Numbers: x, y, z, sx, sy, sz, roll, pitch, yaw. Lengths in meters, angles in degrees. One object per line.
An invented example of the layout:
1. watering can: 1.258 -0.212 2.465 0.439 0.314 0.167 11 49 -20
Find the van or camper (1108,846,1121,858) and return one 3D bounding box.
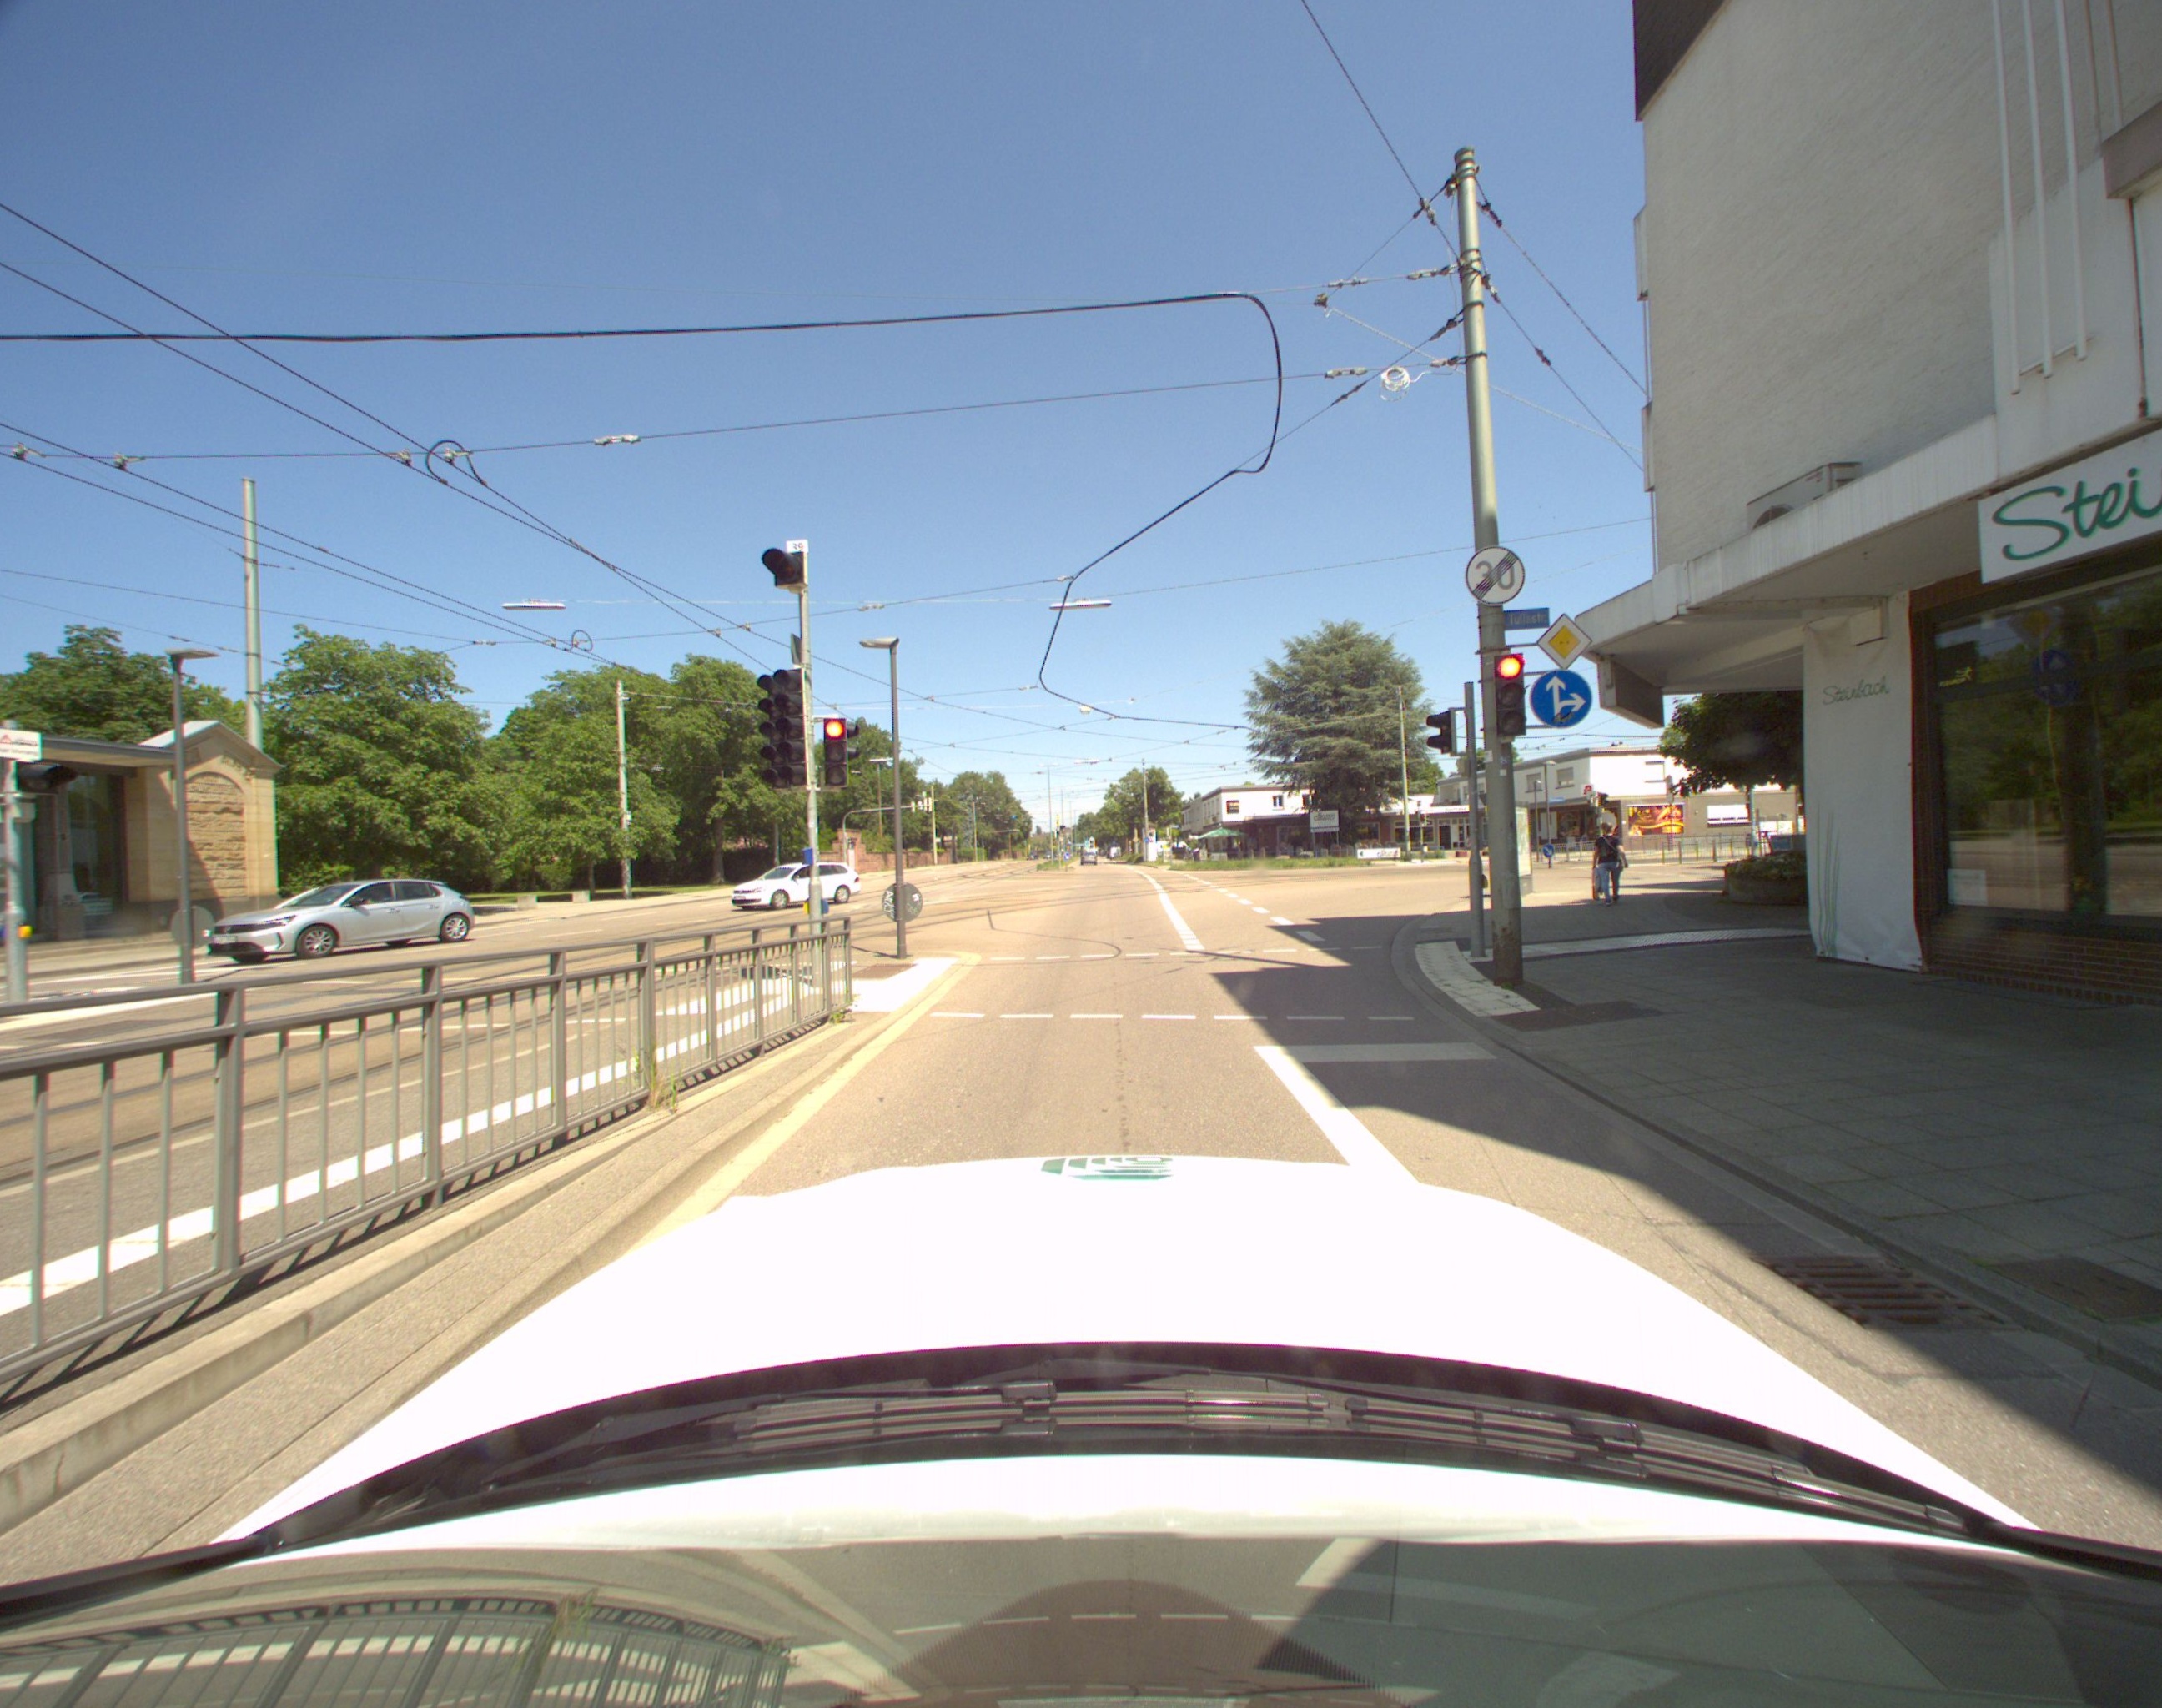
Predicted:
1. van or camper: 5.377 -0.336 130.480 1.915 1.772 4.001 -2 0 2

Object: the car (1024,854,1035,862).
1. car: -10.714 0.878 170.992 1.813 1.603 4.522 -2 0 2

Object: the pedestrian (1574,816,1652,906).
1. pedestrian: 10.026 0.125 15.394 0.822 1.583 0.828 -6 -1 7

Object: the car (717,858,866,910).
1. car: -9.614 0.962 27.381 1.800 1.489 4.528 -2 0 32

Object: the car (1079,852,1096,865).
1. car: 0.719 0.446 90.718 1.632 1.351 3.839 -2 0 -2

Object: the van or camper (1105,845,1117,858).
1. van or camper: 5.603 -0.460 152.961 1.988 2.464 3.998 -2 0 -2

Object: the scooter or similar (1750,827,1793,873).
1. scooter or similar: 18.739 -0.110 22.102 1.258 1.212 0.391 -2 0 -26

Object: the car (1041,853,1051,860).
1. car: -7.785 0.470 181.939 1.634 1.421 4.171 -2 0 3

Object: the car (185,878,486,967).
1. car: -14.445 1.255 16.149 1.806 1.362 4.065 -2 0 12

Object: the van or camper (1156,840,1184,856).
1. van or camper: 15.640 -1.079 143.273 4.742 2.671 2.135 -2 0 -1

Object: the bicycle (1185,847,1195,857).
1. bicycle: 11.308 -0.225 84.423 1.028 1.014 2.643 -2 0 8
